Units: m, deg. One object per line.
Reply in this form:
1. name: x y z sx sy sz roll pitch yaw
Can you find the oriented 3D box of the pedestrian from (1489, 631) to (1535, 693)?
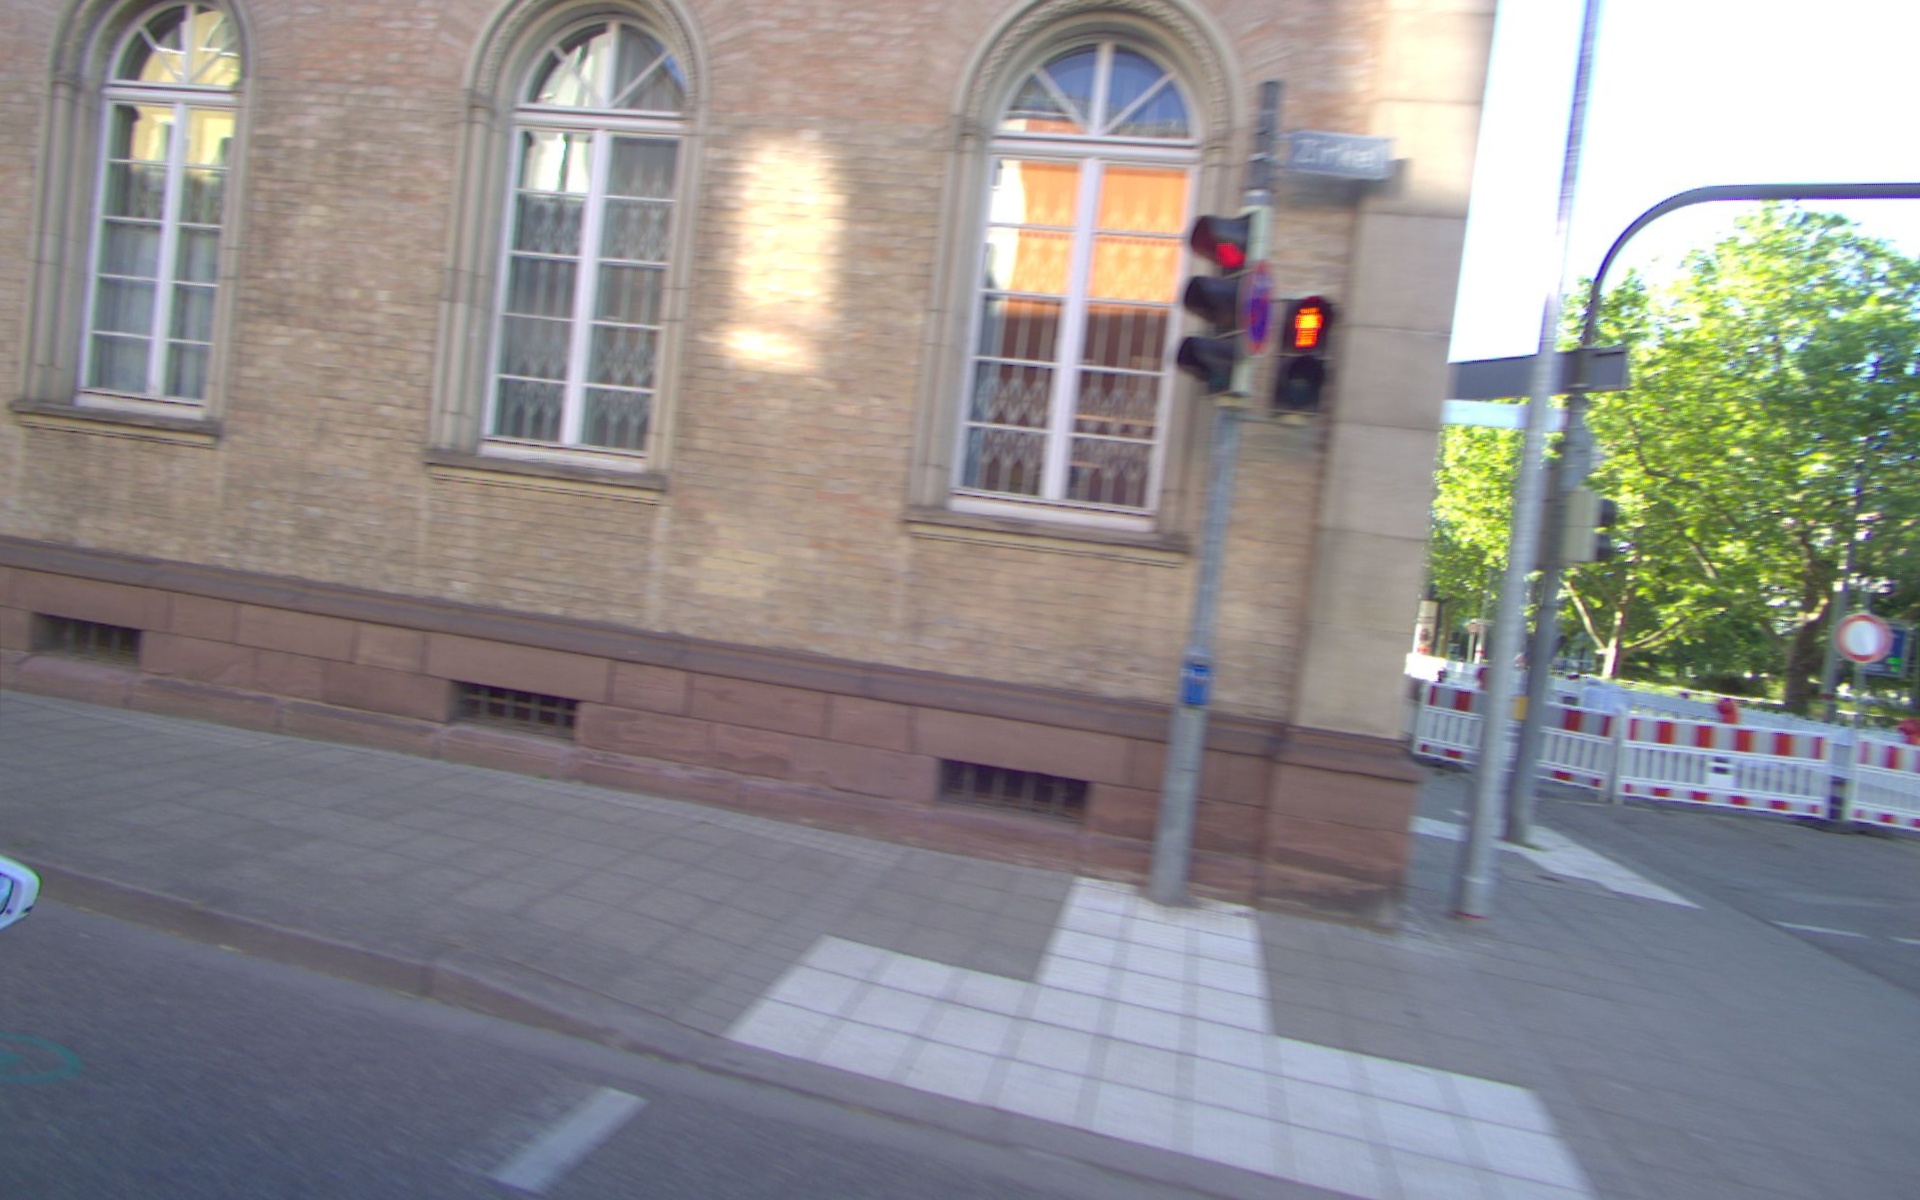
1. pedestrian: 25.768 2.886 46.946 1.403 2.701 1.143 8 2 40
